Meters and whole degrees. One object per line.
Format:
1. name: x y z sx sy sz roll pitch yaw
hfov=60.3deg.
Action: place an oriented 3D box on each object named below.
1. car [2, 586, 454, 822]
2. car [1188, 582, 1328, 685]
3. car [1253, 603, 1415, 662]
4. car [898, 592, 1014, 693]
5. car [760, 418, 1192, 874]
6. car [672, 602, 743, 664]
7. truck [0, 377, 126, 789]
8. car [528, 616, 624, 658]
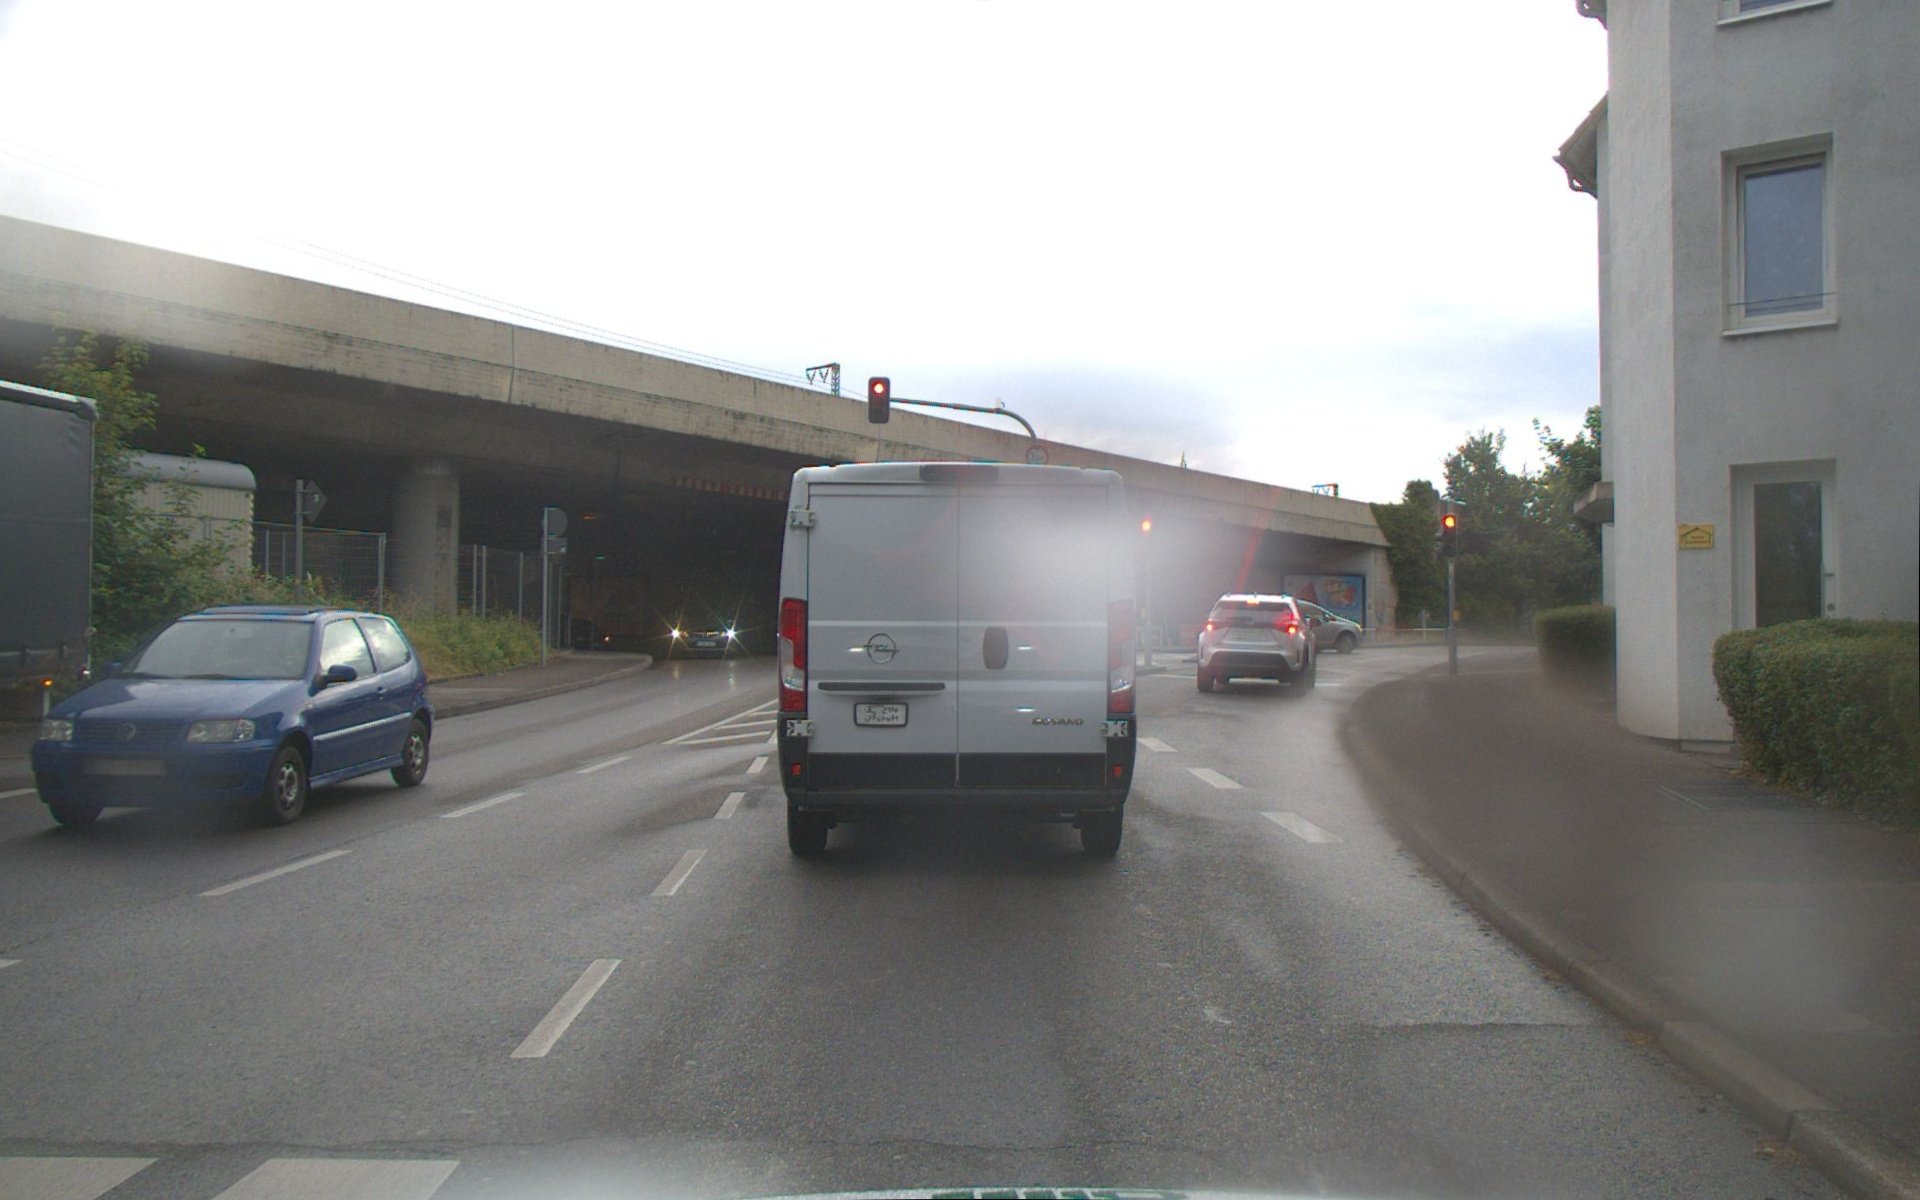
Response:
1. car: -5.105 0.641 12.104 1.564 1.450 3.698 0 0 2
2. car: 5.030 0.551 27.516 1.951 1.576 4.002 0 -1 15
3. car: 10.269 0.906 45.476 3.927 1.581 1.989 1 -1 -19
4. car: -0.008 0.781 30.957 1.952 1.759 4.001 0 -1 3
5. car: 0.090 0.250 11.452 2.258 2.384 5.282 -1 0 0
6. car: -6.847 0.851 44.694 1.808 1.597 4.402 0 0 -10
7. truck: -9.018 -0.162 11.214 2.556 3.294 7.777 0 -1 2
8. car: -14.579 1.398 62.712 1.981 1.545 3.942 1 -2 -40
